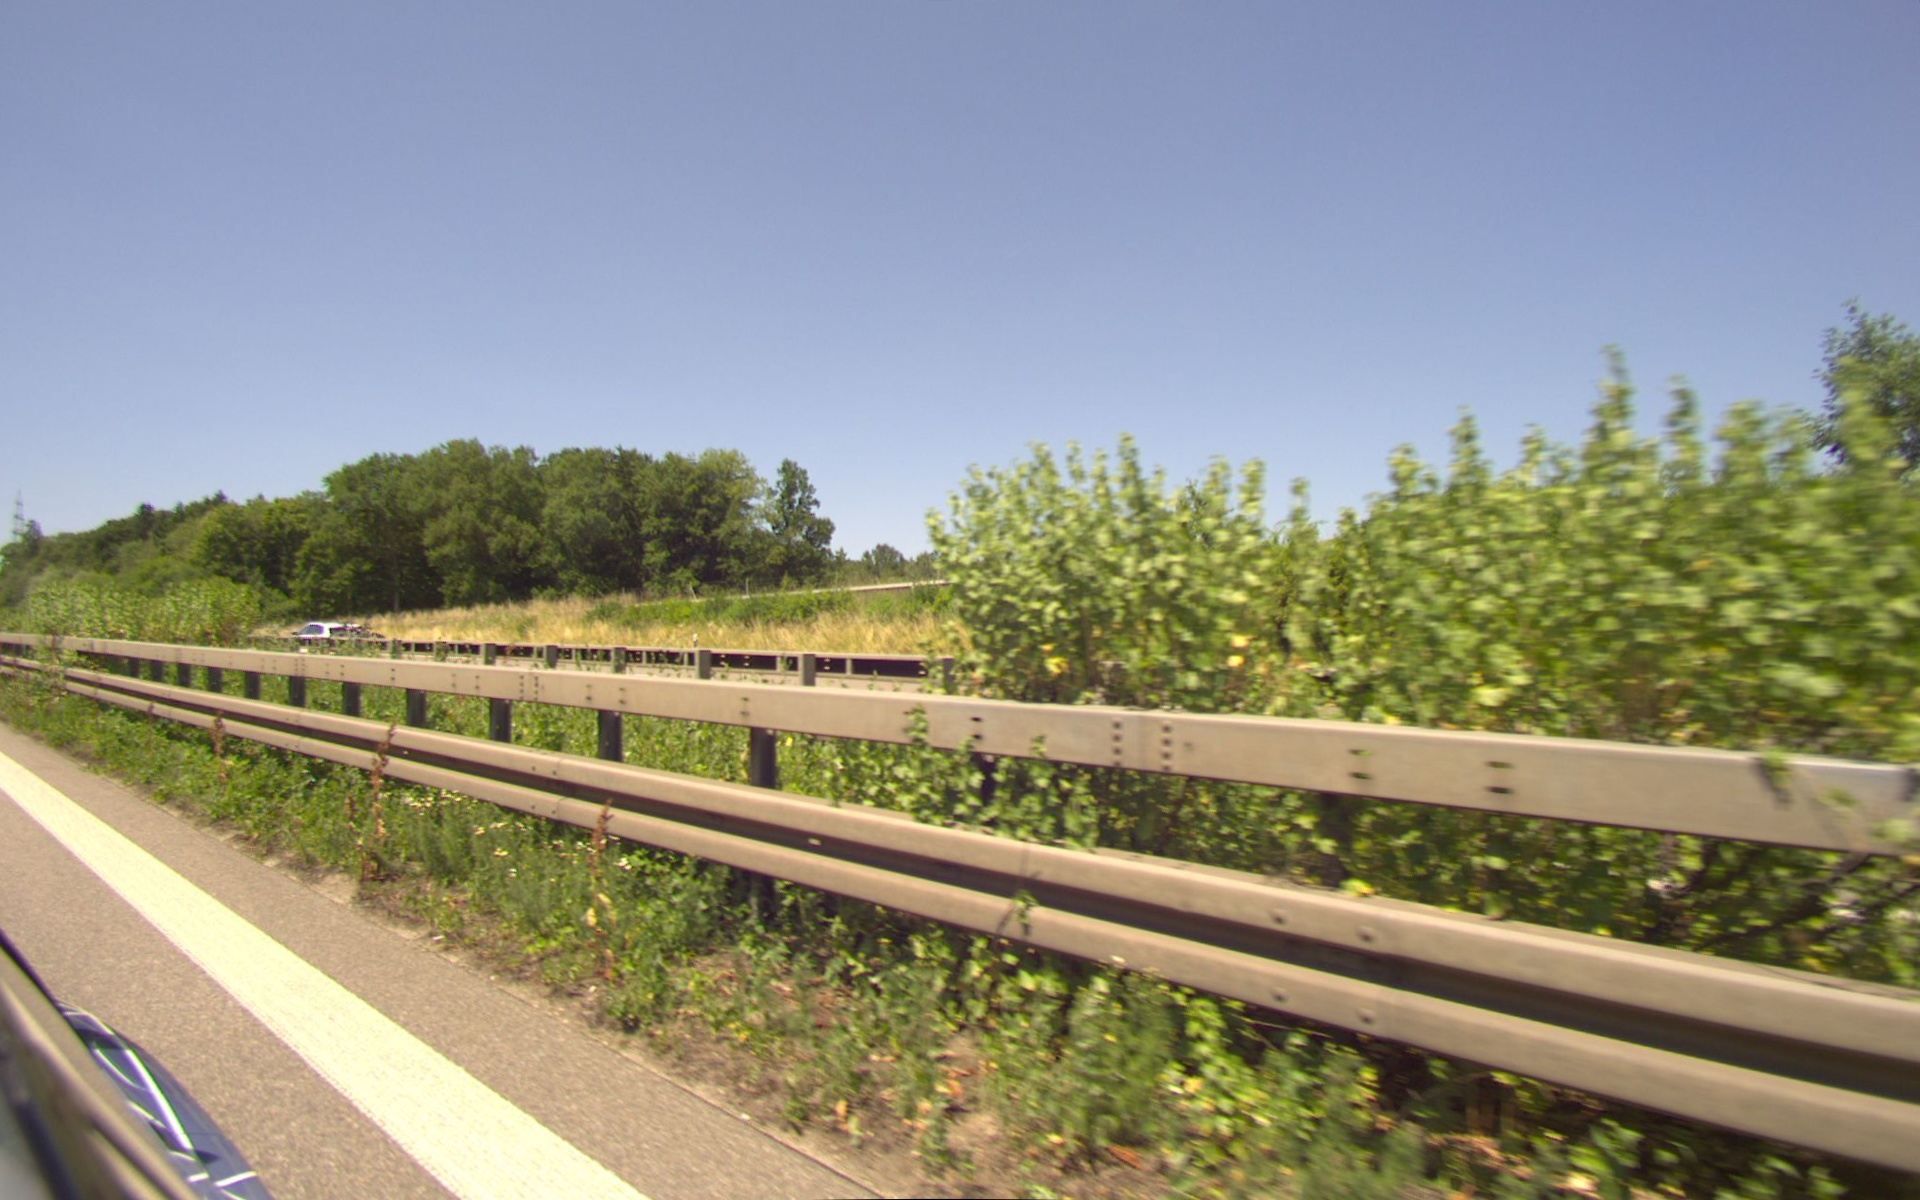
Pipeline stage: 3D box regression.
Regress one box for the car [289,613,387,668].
[{"bbox_3d":[-22.357,1.454,36.307,4.286,1.829,1.782,-3,-2,41],"label":"car"}]
